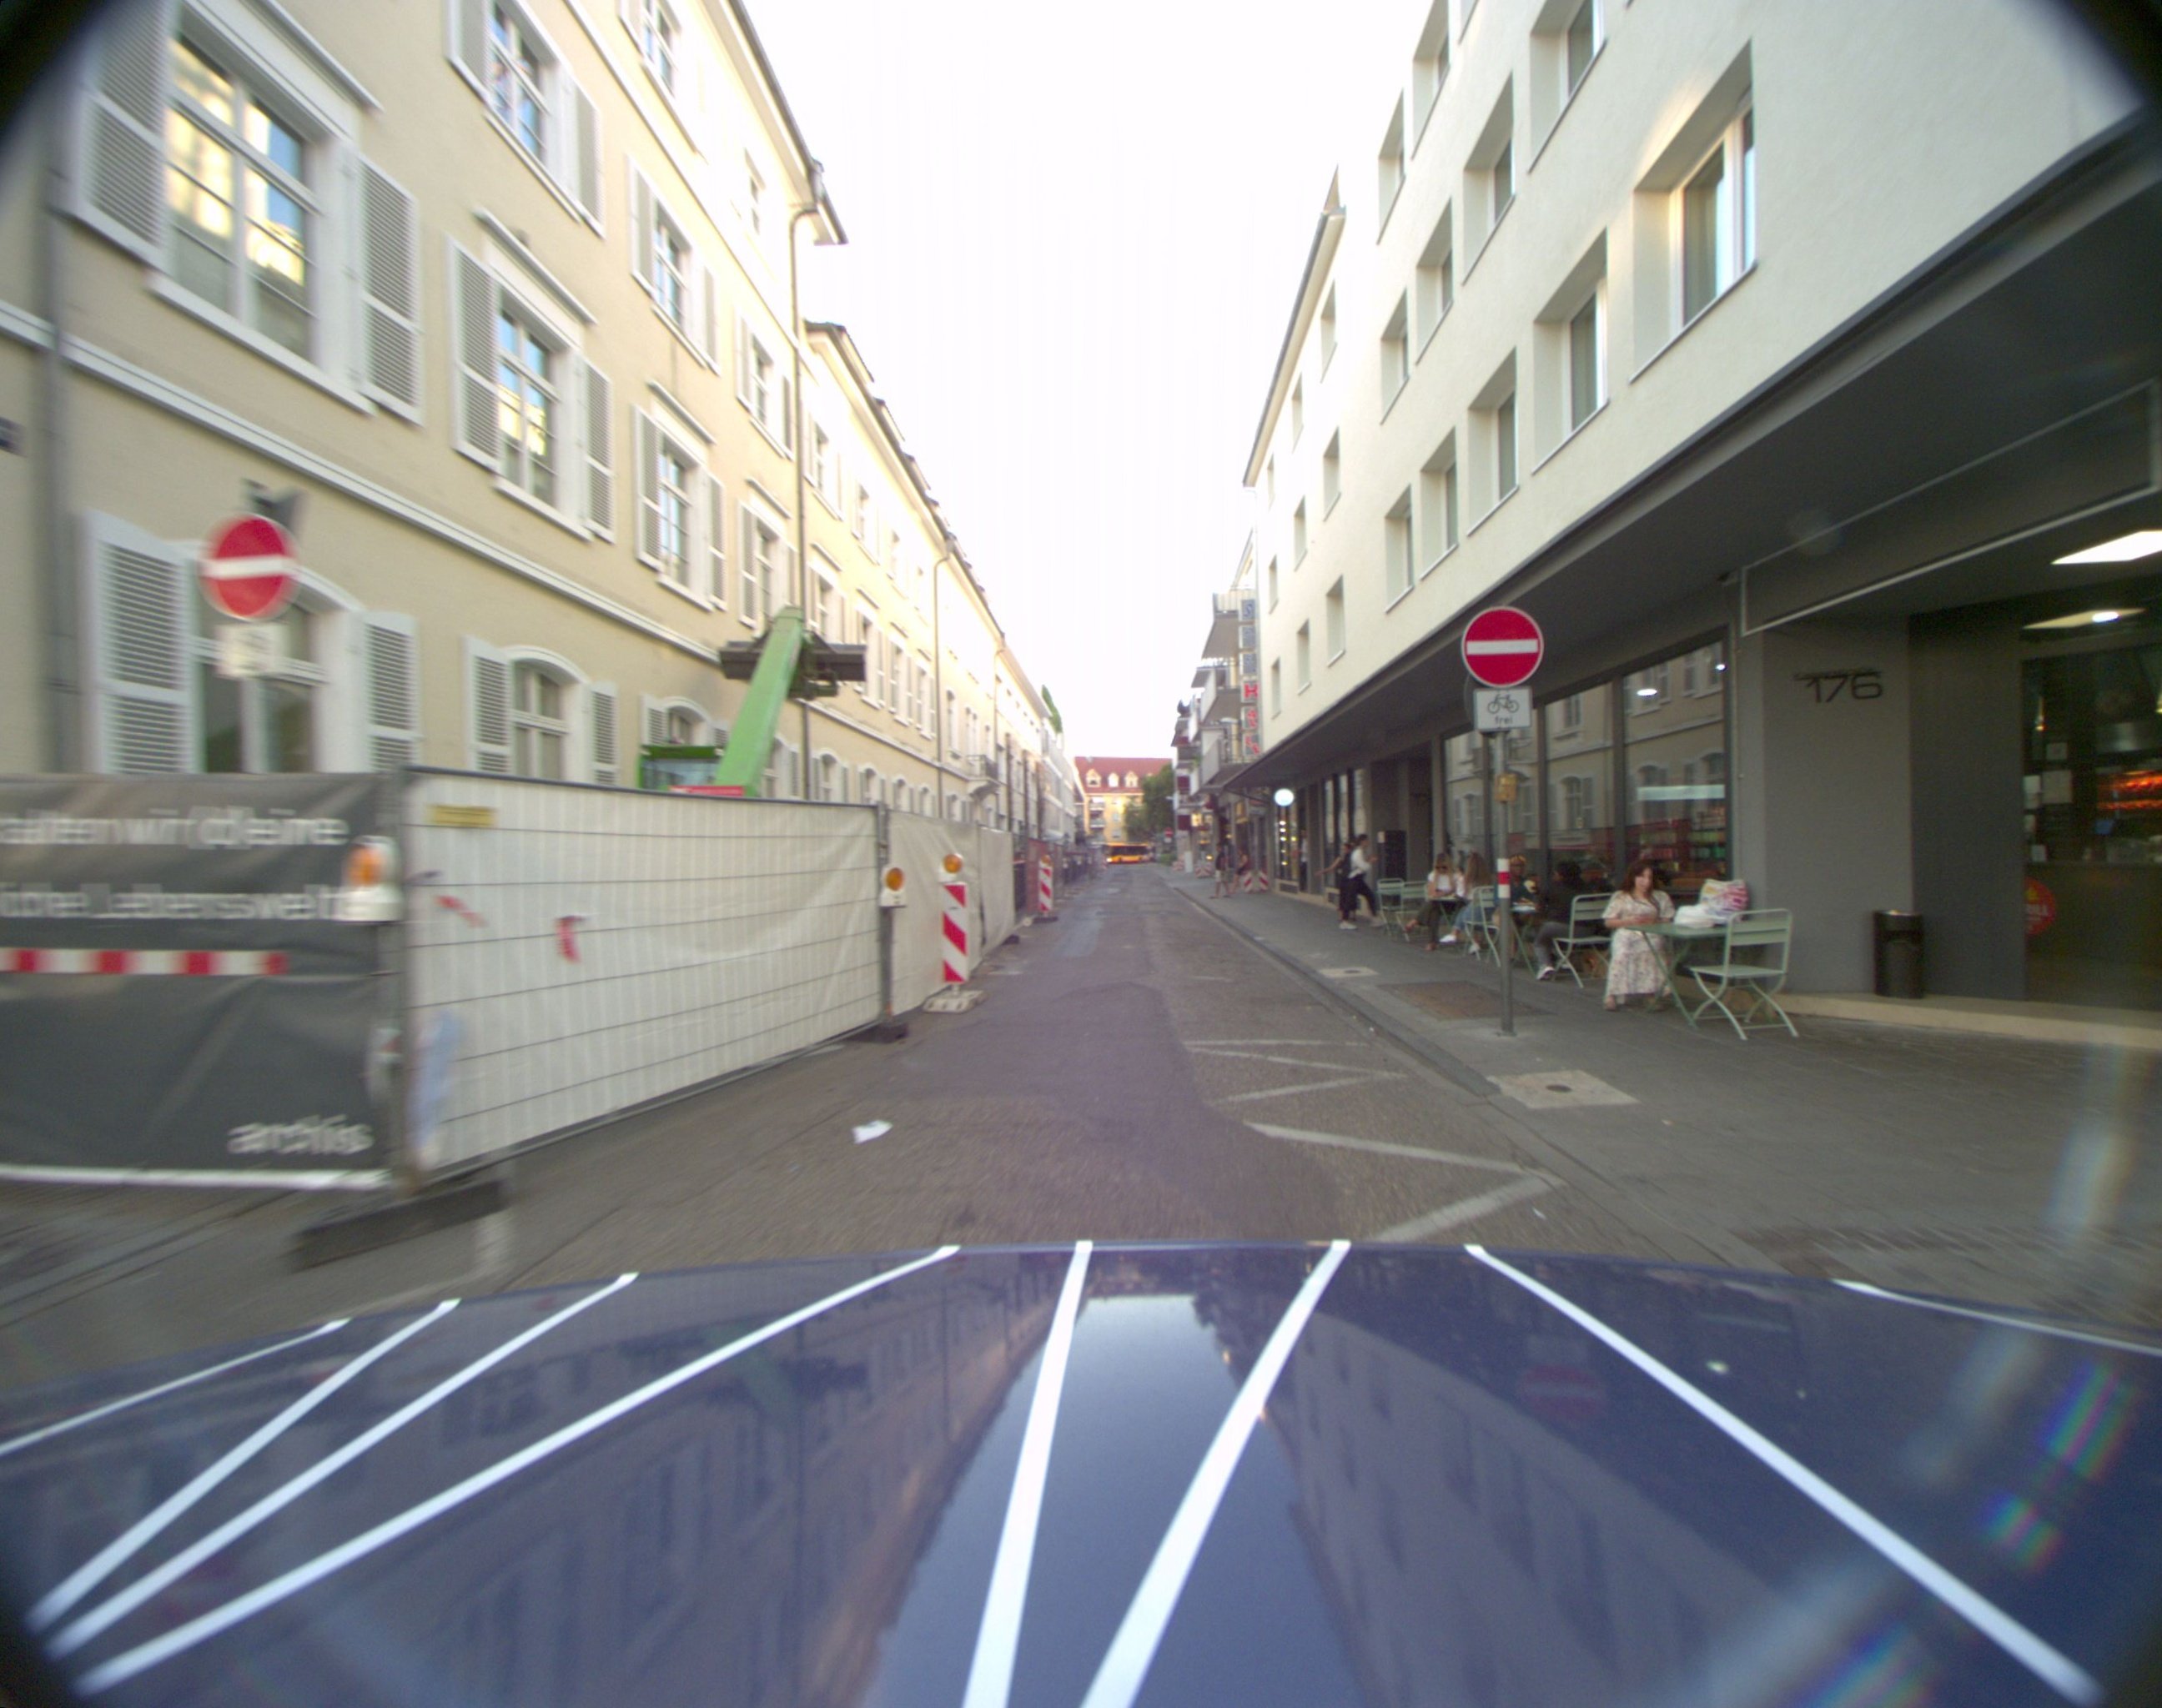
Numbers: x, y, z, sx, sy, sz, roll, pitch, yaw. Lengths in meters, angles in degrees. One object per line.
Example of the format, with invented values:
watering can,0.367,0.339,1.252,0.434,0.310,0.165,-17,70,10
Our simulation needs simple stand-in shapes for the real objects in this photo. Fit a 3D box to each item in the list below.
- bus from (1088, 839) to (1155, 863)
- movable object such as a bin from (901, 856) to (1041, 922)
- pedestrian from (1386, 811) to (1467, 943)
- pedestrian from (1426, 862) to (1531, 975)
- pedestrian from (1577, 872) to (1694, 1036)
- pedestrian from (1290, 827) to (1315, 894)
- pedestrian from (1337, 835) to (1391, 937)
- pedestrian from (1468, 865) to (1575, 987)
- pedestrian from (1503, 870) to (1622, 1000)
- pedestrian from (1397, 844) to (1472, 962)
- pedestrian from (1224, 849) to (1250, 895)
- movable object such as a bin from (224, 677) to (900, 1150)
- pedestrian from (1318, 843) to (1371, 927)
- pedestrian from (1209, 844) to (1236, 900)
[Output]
bus,6.351,-0.569,115.047,3.914,3.306,12.558,1,2,36
movable object such as a bin,-2.971,0.892,22.848,2.897,1.655,7.295,-1,0,2
pedestrian,4.991,0.322,11.027,0.716,1.800,0.933,-3,0,4
pedestrian,4.868,0.755,9.340,0.707,1.278,0.859,-2,1,-21
pedestrian,4.641,0.780,6.345,0.704,1.212,0.843,-1,1,41
pedestrian,6.049,0.175,20.756,0.545,1.800,0.613,0,1,3
pedestrian,4.964,0.560,13.372,0.783,1.729,0.760,-3,0,18
pedestrian,4.893,0.775,8.497,0.705,1.232,0.778,-5,1,7
pedestrian,4.811,0.788,7.635,0.705,1.188,0.691,-5,0,6
pedestrian,4.827,0.642,10.436,0.705,1.539,0.861,-2,1,11
pedestrian,5.479,0.611,26.701,0.710,1.569,0.613,-3,1,0
movable object such as a bin,-3.820,0.363,7.401,2.642,2.856,5.565,-1,0,1
pedestrian,5.122,0.596,14.778,0.659,1.560,0.637,-3,1,-23
pedestrian,4.648,0.574,24.937,0.705,1.771,0.933,-2,1,3
